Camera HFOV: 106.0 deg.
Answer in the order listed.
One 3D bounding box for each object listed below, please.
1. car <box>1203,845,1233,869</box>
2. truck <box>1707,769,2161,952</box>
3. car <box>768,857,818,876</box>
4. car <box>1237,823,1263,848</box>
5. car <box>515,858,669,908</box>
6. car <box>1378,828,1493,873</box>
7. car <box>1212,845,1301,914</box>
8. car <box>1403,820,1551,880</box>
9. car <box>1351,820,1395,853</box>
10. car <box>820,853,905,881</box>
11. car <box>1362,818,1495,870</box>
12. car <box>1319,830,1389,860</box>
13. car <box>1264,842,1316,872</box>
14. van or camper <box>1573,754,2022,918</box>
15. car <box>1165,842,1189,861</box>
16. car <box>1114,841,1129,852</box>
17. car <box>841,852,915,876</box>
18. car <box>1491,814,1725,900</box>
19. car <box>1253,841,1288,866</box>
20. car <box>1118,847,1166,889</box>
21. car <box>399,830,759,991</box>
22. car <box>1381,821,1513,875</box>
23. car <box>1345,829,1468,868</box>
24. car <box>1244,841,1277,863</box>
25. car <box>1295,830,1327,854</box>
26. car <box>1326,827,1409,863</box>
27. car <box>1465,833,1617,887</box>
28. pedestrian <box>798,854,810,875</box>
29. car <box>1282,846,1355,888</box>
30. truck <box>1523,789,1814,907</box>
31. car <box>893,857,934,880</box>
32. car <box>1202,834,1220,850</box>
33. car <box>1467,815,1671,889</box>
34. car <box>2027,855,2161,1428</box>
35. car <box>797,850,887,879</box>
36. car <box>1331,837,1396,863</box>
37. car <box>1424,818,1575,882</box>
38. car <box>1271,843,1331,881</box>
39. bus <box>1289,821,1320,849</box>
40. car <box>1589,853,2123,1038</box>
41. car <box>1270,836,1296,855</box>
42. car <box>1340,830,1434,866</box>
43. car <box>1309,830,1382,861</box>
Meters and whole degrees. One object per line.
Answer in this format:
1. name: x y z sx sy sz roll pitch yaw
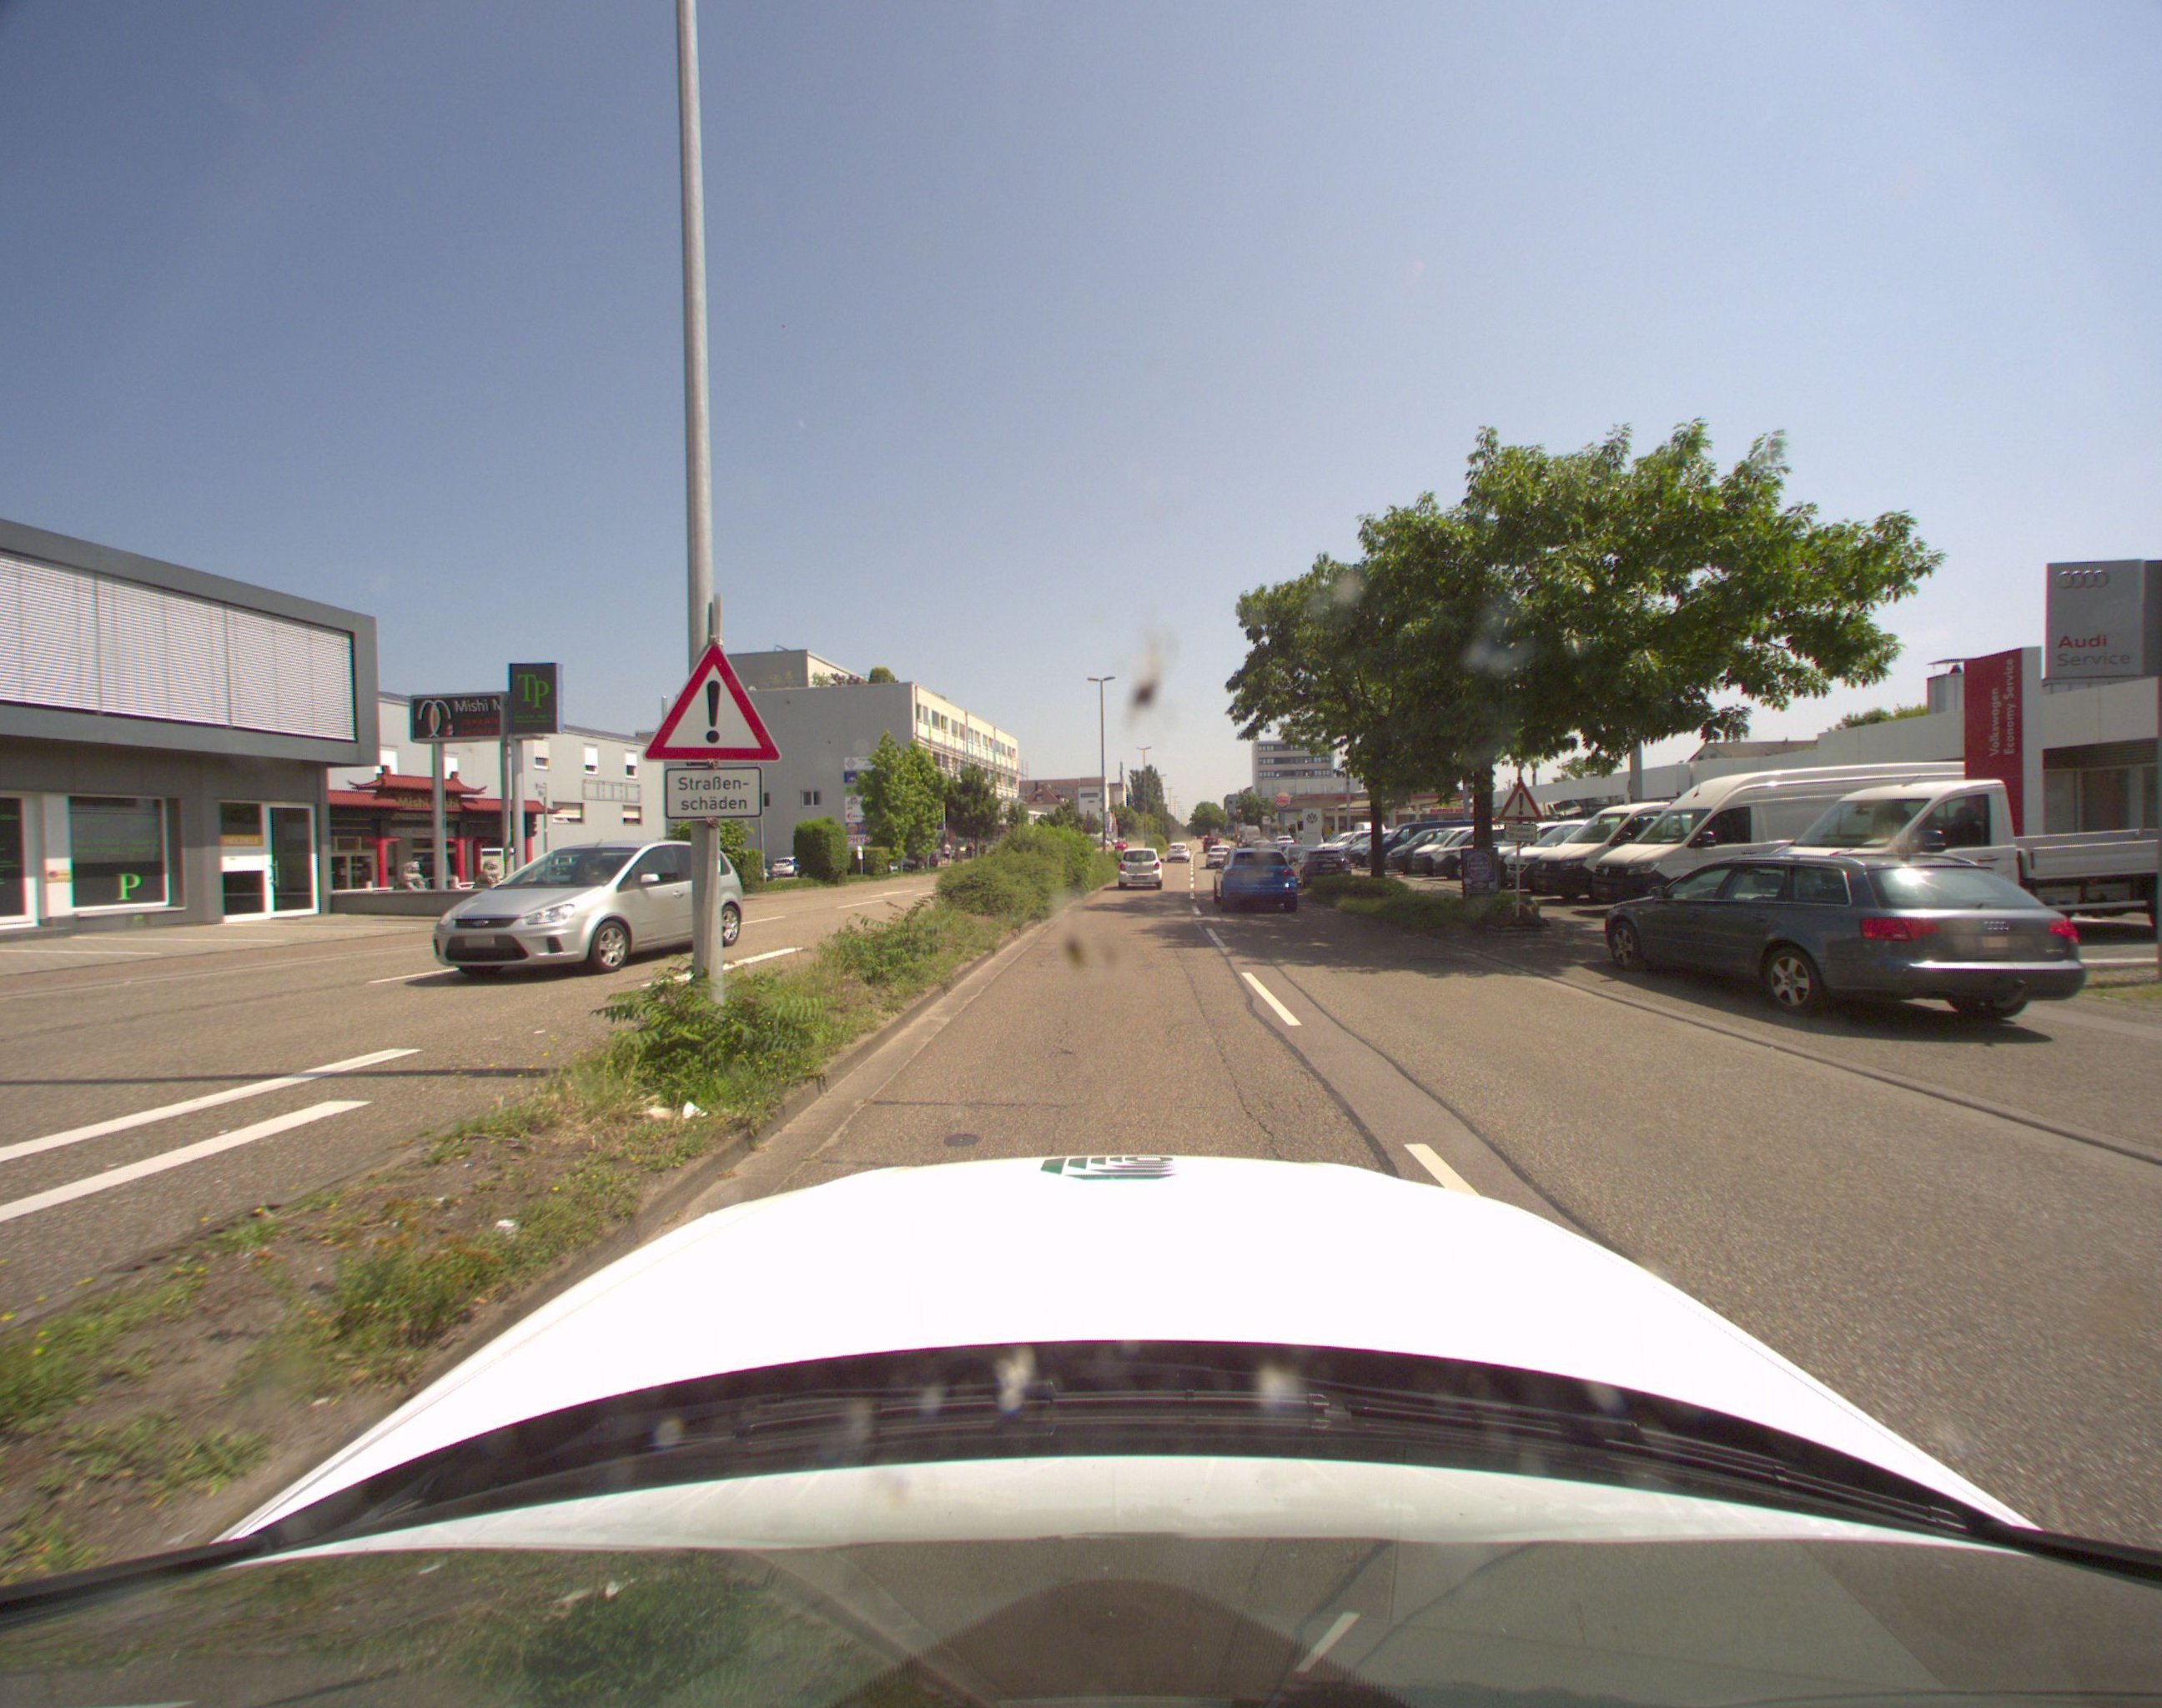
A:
1. car: 8.511 0.185 50.784 1.658 1.399 3.801 -1 0 7
2. truck: 13.464 0.049 12.106 6.209 2.336 2.374 -2 1 8
3. car: -22.067 0.972 62.530 1.982 1.372 4.009 0 -1 8
4. car: 21.717 -2.387 104.902 2.123 2.839 7.321 -7 0 6
5. car: -15.638 0.920 26.146 3.971 1.459 1.576 -1 -1 2
6. car: 16.657 -0.162 38.457 4.544 1.851 1.955 -3 1 6
7. car: 4.479 0.585 21.367 1.902 1.597 4.405 -1 1 7
8. car: 16.222 -0.159 33.583 5.037 2.097 2.044 -3 0 7
9. car: 25.929 -1.578 72.518 2.243 2.675 7.034 -2 1 8
10. car: -12.472 0.722 46.630 4.201 1.349 1.984 -3 1 6
11. car: 17.392 -0.460 41.081 5.807 2.524 2.210 0 -1 10
12. car: 18.416 -0.607 55.030 4.128 1.781 1.885 -3 -1 6
13. car: 11.118 0.137 43.649 1.846 1.481 5.163 -1 1 5
14. van or camper: 14.204 -0.324 16.605 6.760 2.897 2.280 -2 1 6
15. car: 7.338 -0.169 62.373 1.820 1.450 4.007 0 0 6
16. car: 5.663 -1.074 113.154 1.621 1.424 3.459 -4 0 9
17. car: -12.229 0.617 49.118 3.818 1.230 1.863 -3 1 6
18. car: 14.249 0.064 22.300 4.923 2.113 2.163 -2 1 6
19. car: 12.728 -0.035 54.909 1.705 1.548 4.798 -2 0 6
20. car: 2.272 0.531 31.054 1.705 1.511 3.248 0 -1 2
21. car: -6.143 0.590 10.724 1.772 1.629 4.344 -2 0 4
22. car: 16.095 -0.277 36.068 4.874 2.114 2.133 -3 1 6
23. car: 17.438 -0.301 43.963 5.859 2.013 2.265 0 0 9
24. car: 13.257 -0.152 60.271 1.725 1.552 4.184 -1 1 3
25. car: 20.536 -1.074 72.926 1.983 2.023 5.171 0 1 7
26. car: 18.272 -0.589 52.087 4.617 2.013 1.963 -3 1 5
27. car: 15.456 0.167 27.507 4.009 1.470 1.915 -4 1 1
28. pedestrian: -21.081 0.787 62.046 0.604 1.588 0.721 0 -1 6
29. car: 8.931 0.446 30.969 1.674 1.435 4.443 -2 0 3
30. truck: 13.819 -0.130 19.519 5.216 2.435 2.117 -3 0 9
31. car: -12.119 1.030 59.063 1.650 1.467 3.806 -4 1 7
32. car: 14.546 -1.319 90.952 1.786 1.729 3.979 0 0 6
33. car: 14.784 -0.062 24.962 4.886 1.971 2.146 -2 0 7
34. car: 3.482 0.747 0.492 1.594 1.425 3.661 1 1 1
35. car: -12.819 0.538 43.828 4.128 1.342 2.046 -3 1 5
36. car: 17.130 -0.229 49.523 3.605 1.570 1.722 0 1 13
37. car: 15.566 -0.134 30.565 4.484 2.013 2.203 -4 -1 8
38. car: 10.119 0.310 37.798 1.950 1.530 5.172 -4 1 8
39. bus: 27.051 -2.403 98.952 2.786 3.078 12.326 -1 2 11
40. car: 7.365 0.700 8.507 1.788 1.406 4.327 0 0 6
41. car: 18.139 -0.767 73.297 1.658 1.596 4.623 -2 1 8
42. car: 17.532 -0.361 46.837 4.760 1.984 2.009 0 3 8
43. car: 18.466 -0.588 57.075 4.532 1.888 1.860 -3 -1 6
